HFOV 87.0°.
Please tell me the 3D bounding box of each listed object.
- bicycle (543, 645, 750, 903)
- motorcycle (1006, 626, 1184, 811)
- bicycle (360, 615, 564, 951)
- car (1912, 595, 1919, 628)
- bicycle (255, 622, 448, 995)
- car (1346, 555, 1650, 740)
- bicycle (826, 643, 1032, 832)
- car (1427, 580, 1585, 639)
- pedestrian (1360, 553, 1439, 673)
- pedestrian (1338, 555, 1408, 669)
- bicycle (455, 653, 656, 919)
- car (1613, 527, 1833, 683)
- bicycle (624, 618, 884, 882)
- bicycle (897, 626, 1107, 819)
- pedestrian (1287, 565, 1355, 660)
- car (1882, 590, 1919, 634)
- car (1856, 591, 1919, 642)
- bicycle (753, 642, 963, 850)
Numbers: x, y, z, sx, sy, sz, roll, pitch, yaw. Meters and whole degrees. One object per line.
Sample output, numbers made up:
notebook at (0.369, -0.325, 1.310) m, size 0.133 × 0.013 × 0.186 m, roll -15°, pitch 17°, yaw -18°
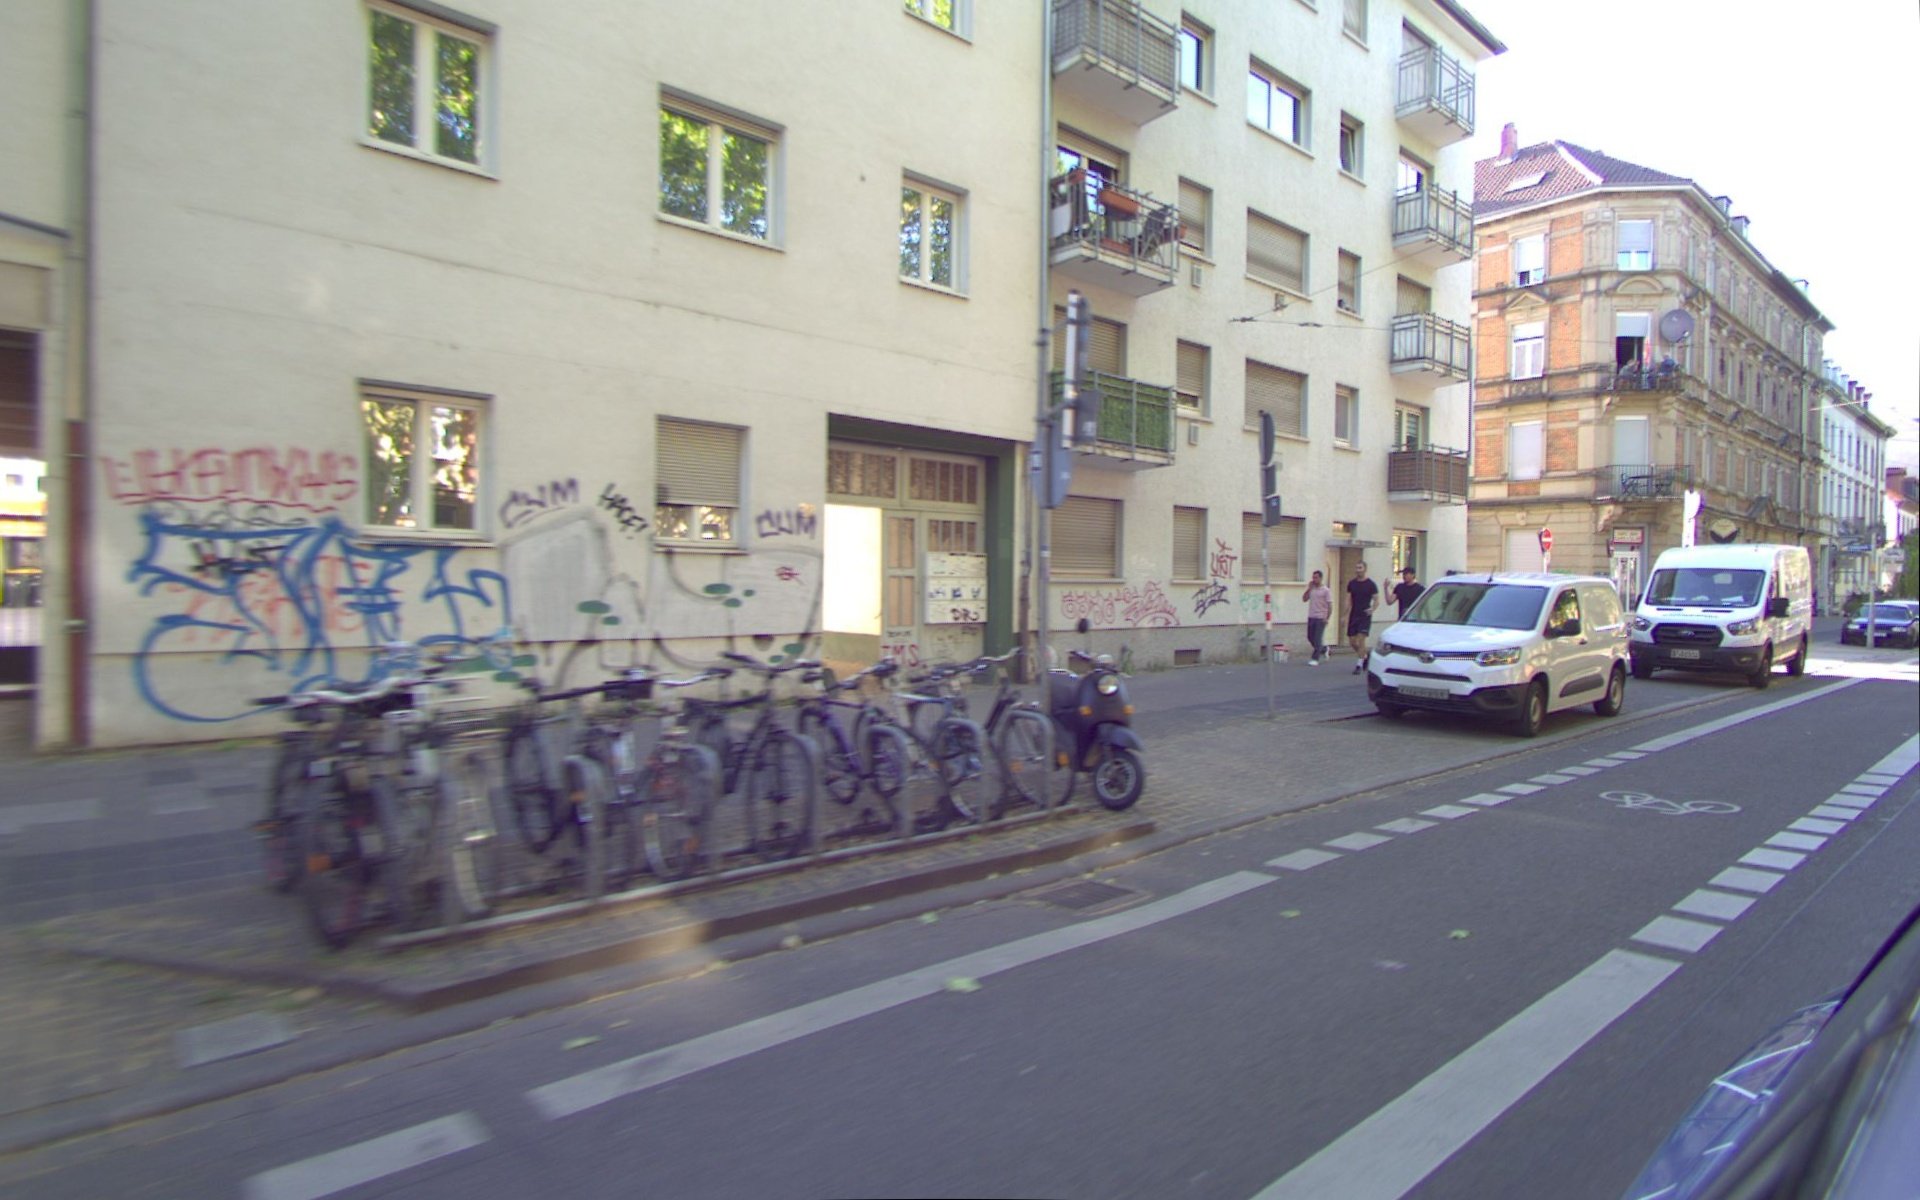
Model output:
bicycle at (-1.741, 0.841, 5.460) m, size 0.449 × 1.033 × 1.657 m, roll 0°, pitch 3°, yaw -40°
motorcycle at (0.943, 0.806, 7.609) m, size 0.604 × 1.093 × 1.829 m, roll 0°, pitch 2°, yaw -17°
bicycle at (-2.448, 0.743, 4.860) m, size 0.449 × 1.206 × 1.827 m, roll 0°, pitch 3°, yaw -40°
car at (39.405, 0.474, 40.377) m, size 3.660 × 1.288 × 1.652 m, roll -1°, pitch 4°, yaw -41°
bicycle at (-2.779, 0.776, 4.528) m, size 0.449 × 1.206 × 1.896 m, roll 0°, pitch 3°, yaw -40°
car at (6.789, 0.409, 12.584) m, size 4.276 × 1.841 × 1.863 m, roll -2°, pitch 6°, yaw -41°
bicycle at (-0.260, 0.850, 6.782) m, size 0.449 × 0.999 × 1.656 m, roll 0°, pitch 2°, yaw -40°
car at (15.725, 0.222, 29.264) m, size 1.759 × 1.593 × 3.657 m, roll 0°, pitch 1°, yaw -41°
pedestrian at (7.061, 0.183, 16.256) m, size 1.062 × 1.845 × 0.711 m, roll -1°, pitch 3°, yaw -39°
pedestrian at (6.964, 0.177, 17.059) m, size 1.062 × 1.845 × 0.626 m, roll -1°, pitch 3°, yaw -39°
bicycle at (-2.113, 0.848, 5.156) m, size 0.449 × 0.978 × 1.657 m, roll 0°, pitch 3°, yaw -40°
car at (14.617, 0.029, 19.218) m, size 5.982 × 2.526 × 2.153 m, roll -1°, pitch 1°, yaw -41°
bicycle at (-1.262, 0.756, 5.888) m, size 0.692 × 1.162 × 1.798 m, roll 0°, pitch 3°, yaw -40°
bicycle at (0.241, 0.784, 7.078) m, size 0.449 × 1.068 × 1.657 m, roll 0°, pitch 3°, yaw -40°
pedestrian at (6.480, 0.205, 18.159) m, size 0.916 × 1.598 × 0.634 m, roll -1°, pitch 7°, yaw -39°
car at (34.399, 0.403, 36.185) m, size 3.943 × 1.438 × 1.606 m, roll -1°, pitch 4°, yaw -41°
car at (30.304, 0.489, 32.650) m, size 3.991 × 1.438 × 1.652 m, roll -1°, pitch 4°, yaw -42°
bicycle at (-0.698, 0.846, 6.399) m, size 0.449 × 0.999 × 1.657 m, roll 0°, pitch 3°, yaw -40°
